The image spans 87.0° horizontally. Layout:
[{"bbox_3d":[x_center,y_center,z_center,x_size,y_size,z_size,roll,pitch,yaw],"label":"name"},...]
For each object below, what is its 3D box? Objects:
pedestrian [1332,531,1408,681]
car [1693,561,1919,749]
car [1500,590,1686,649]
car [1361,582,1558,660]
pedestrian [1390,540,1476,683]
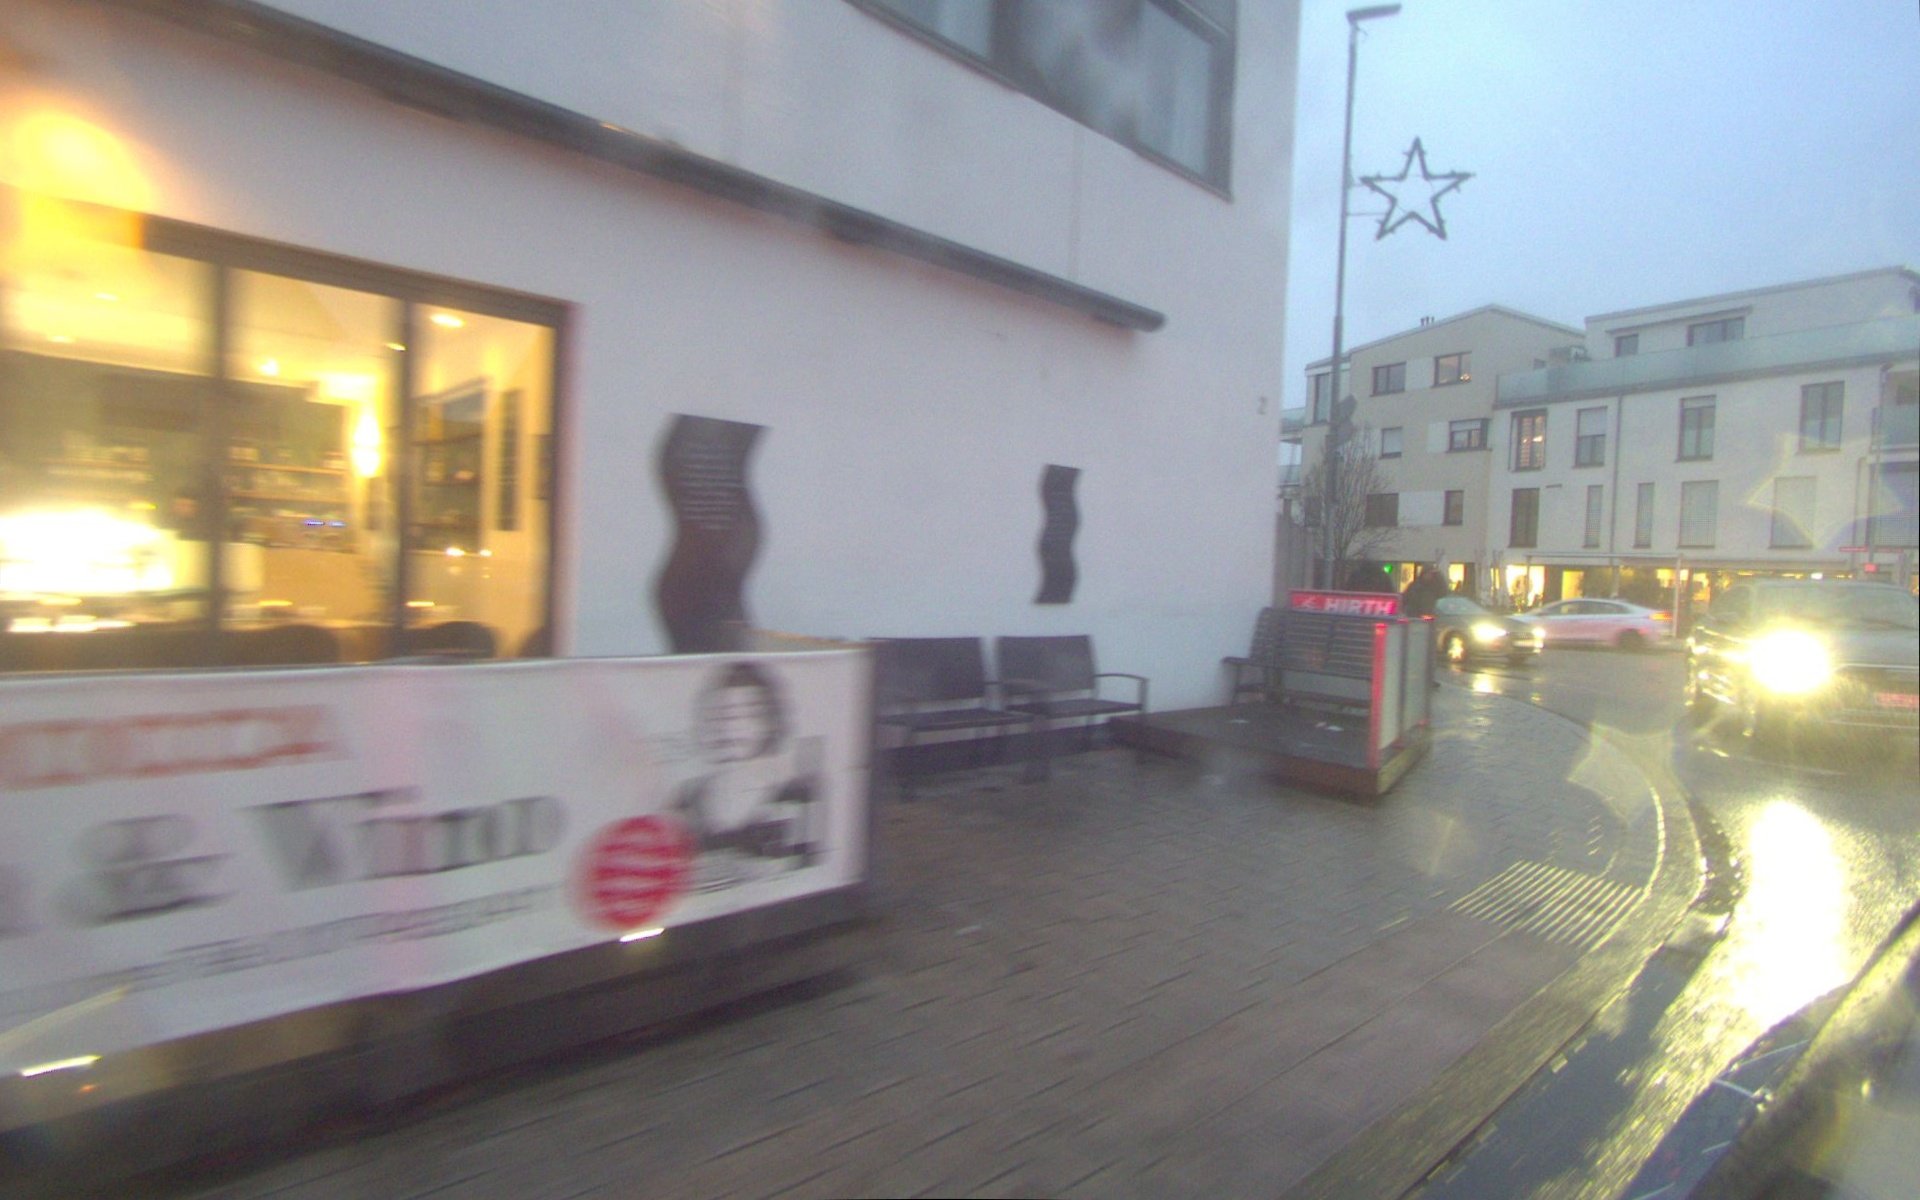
[{"bbox_3d":[5.300,0.069,13.130,0.697,1.889,0.791,0,1,4],"label":"pedestrian"},{"bbox_3d":[9.140,0.462,10.563,1.943,1.605,4.066,2,1,30],"label":"car"},{"bbox_3d":[17.341,0.484,27.862,4.247,1.462,1.542,1,2,35],"label":"car"},{"bbox_3d":[10.525,0.374,21.680,1.727,1.498,4.027,0,1,-10],"label":"car"},{"bbox_3d":[6.046,0.135,12.973,0.754,1.783,0.791,0,1,4],"label":"pedestrian"}]
